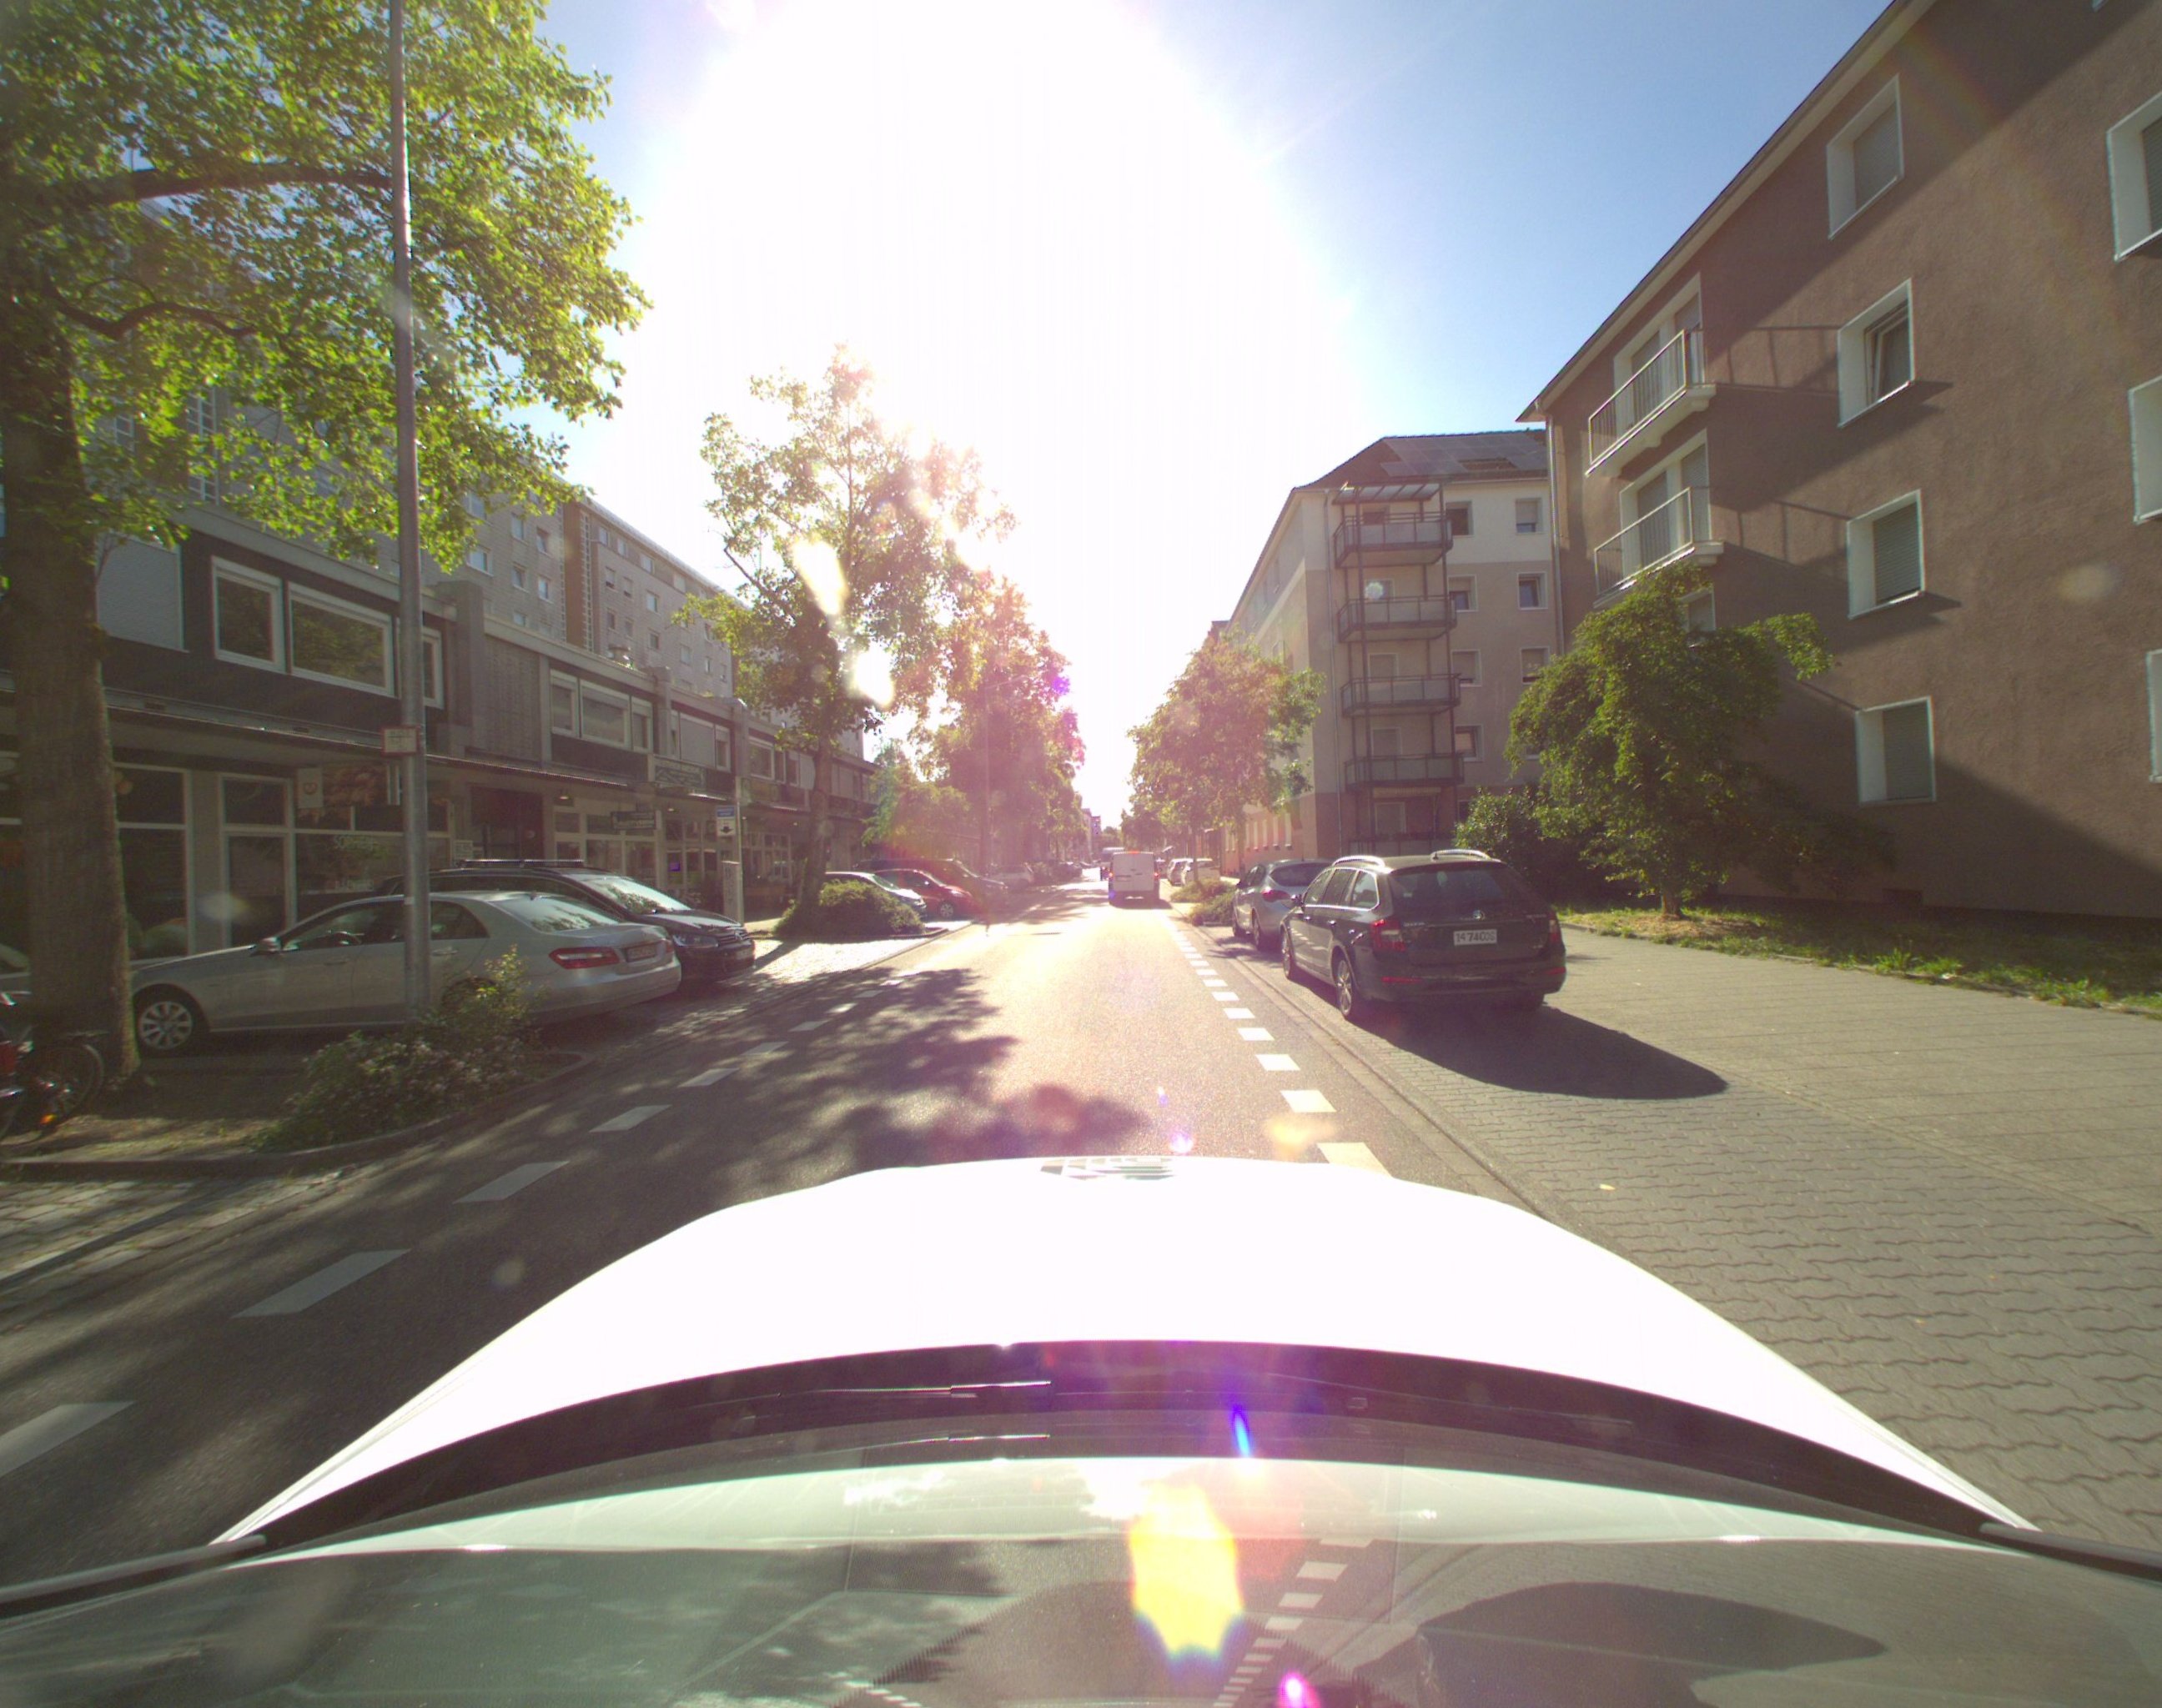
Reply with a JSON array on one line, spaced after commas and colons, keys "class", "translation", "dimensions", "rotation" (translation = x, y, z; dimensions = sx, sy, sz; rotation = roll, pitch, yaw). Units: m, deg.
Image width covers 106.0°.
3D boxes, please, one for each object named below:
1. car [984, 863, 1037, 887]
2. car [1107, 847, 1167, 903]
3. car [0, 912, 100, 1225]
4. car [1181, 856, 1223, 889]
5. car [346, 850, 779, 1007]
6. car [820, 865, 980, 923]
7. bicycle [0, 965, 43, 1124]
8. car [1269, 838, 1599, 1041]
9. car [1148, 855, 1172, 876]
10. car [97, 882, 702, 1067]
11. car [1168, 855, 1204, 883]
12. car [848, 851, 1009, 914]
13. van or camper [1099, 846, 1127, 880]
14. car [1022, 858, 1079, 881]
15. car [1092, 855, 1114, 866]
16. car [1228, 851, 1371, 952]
[{"class": "car", "translation": [-4.440, 1.324, 51.320], "dimensions": [3.087, 1.409, 1.662], "rotation": [-2, 0, 1]}, {"class": "car", "translation": [2.107, 0.749, 31.728], "dimensions": [2.093, 1.907, 5.428], "rotation": [-2, 0, 2]}, {"class": "car", "translation": [-7.277, 1.084, 3.530], "dimensions": [4.015, 1.494, 1.718], "rotation": [-1, 0, 1]}, {"class": "car", "translation": [6.089, 0.915, 41.404], "dimensions": [1.732, 1.519, 3.861], "rotation": [-2, 0, 4]}, {"class": "car", "translation": [-6.741, 0.926, 10.957], "dimensions": [4.609, 1.804, 1.838], "rotation": [-2, -1, 1]}, {"class": "car", "translation": [-5.659, 1.233, 25.756], "dimensions": [4.609, 1.610, 1.662], "rotation": [-2, -1, 1]}, {"class": "bicycle", "translation": [-8.051, 1.358, 5.698], "dimensions": [1.147, 1.068, 0.399], "rotation": [-3, -1, 6]}, {"class": "car", "translation": [3.288, 0.691, 8.611], "dimensions": [1.775, 1.519, 4.313], "rotation": [-3, -1, 4]}, {"class": "car", "translation": [6.272, 0.892, 64.960], "dimensions": [1.732, 1.519, 3.861], "rotation": [-2, 0, 4]}, {"class": "car", "translation": [-6.659, 1.133, 8.346], "dimensions": [4.639, 1.494, 1.828], "rotation": [-2, 0, 1]}, {"class": "car", "translation": [6.036, 0.852, 47.086], "dimensions": [1.732, 1.519, 3.861], "rotation": [-2, 0, 4]}, {"class": "car", "translation": [-5.215, 0.958, 28.299], "dimensions": [5.193, 1.981, 1.662], "rotation": [-2, -1, 1]}, {"class": "van or camper", "translation": [2.562, 0.672, 64.246], "dimensions": [1.985, 2.475, 5.824], "rotation": [-3, 0, 3]}, {"class": "car", "translation": [-2.814, 1.477, 76.160], "dimensions": [5.193, 1.981, 1.662], "rotation": [-2, -1, 1]}, {"class": "car", "translation": [4.097, 1.243, 154.152], "dimensions": [3.976, 2.013, 1.999], "rotation": [-2, 0, -2]}, {"class": "car", "translation": [3.770, 0.754, 14.698], "dimensions": [1.732, 1.519, 3.861], "rotation": [-2, 0, 4]}]
